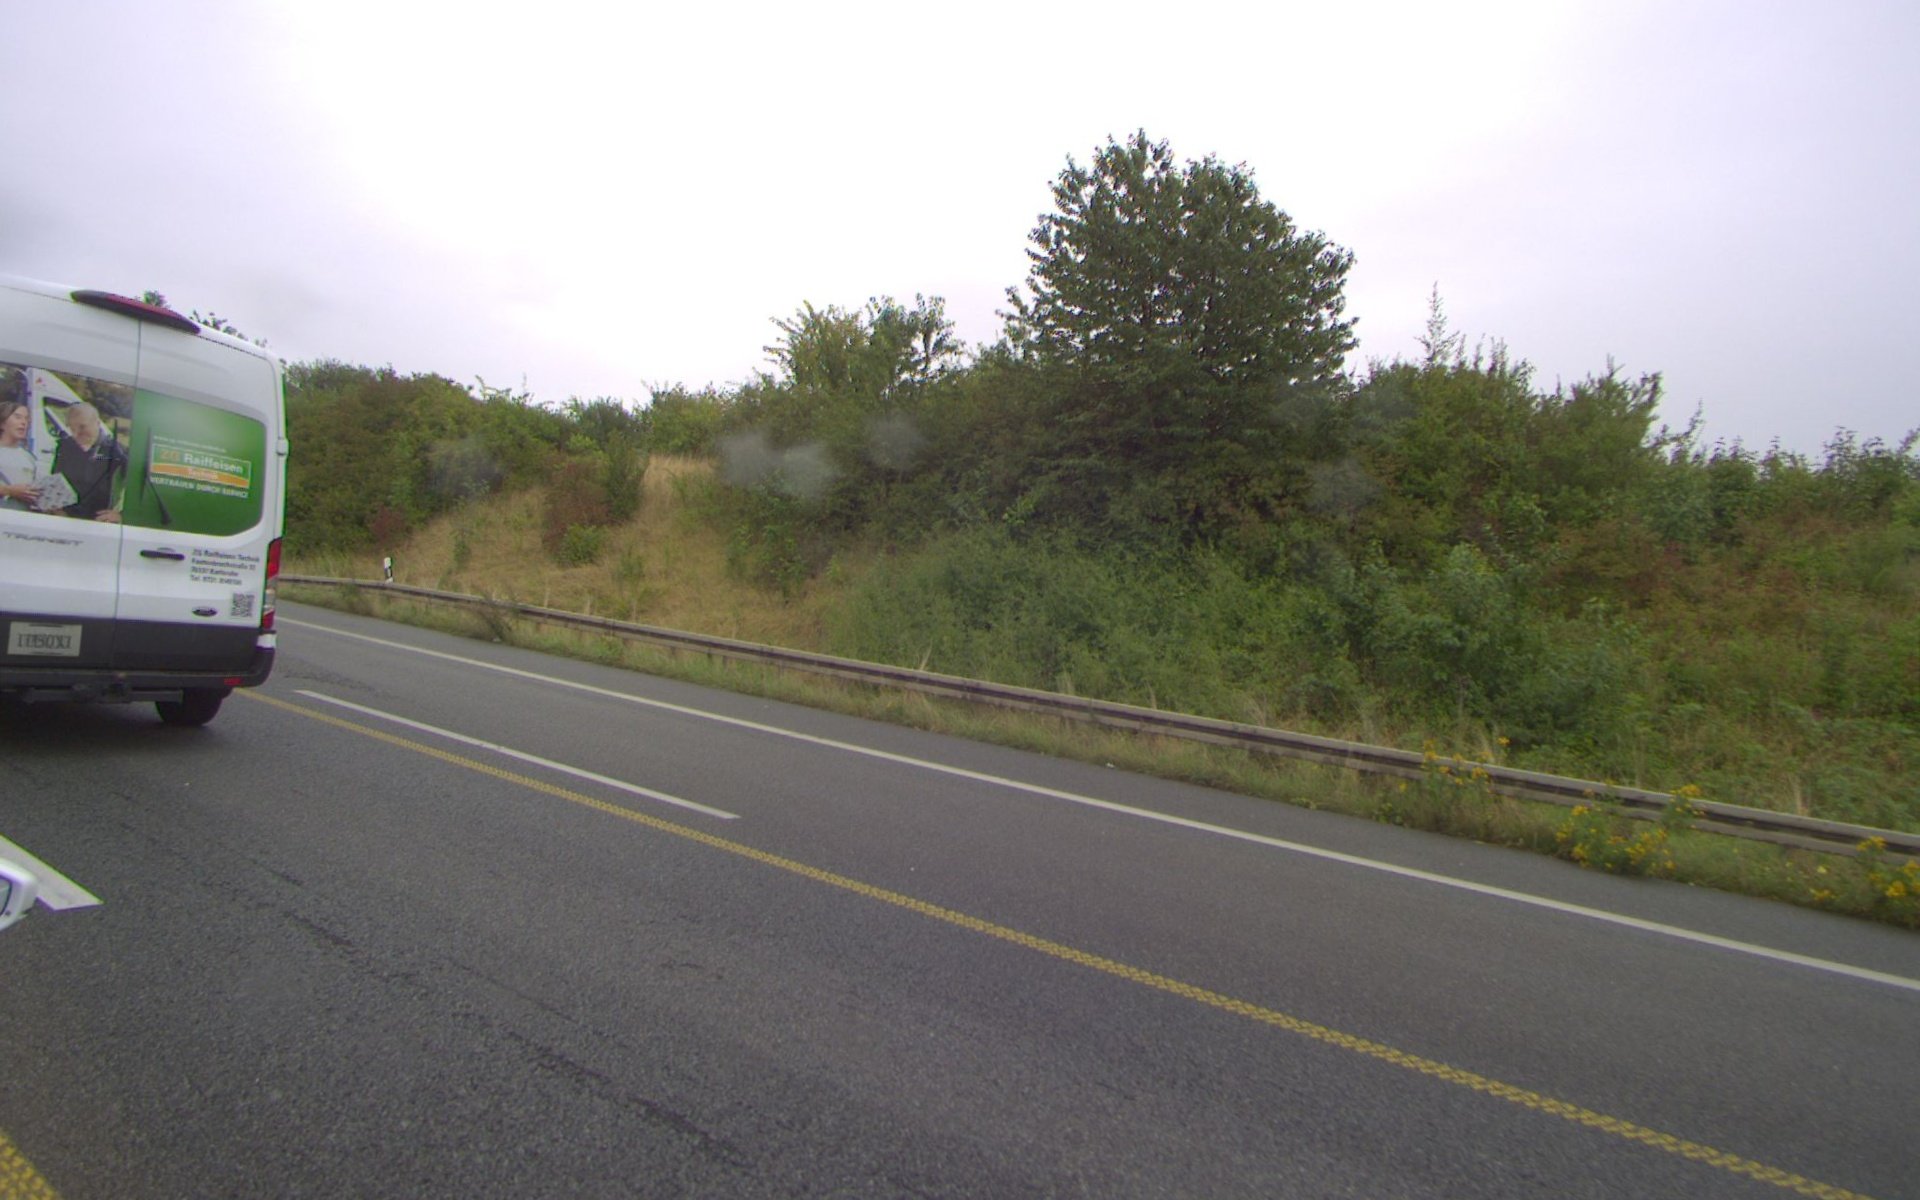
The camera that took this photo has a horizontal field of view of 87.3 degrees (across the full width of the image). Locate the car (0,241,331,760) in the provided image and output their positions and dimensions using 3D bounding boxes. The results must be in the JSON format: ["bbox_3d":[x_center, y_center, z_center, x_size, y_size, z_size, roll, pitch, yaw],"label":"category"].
[{"bbox_3d":[-7.365,-0.754,7.460,5.659,2.816,1.997,7,0,31],"label":"car"}]
